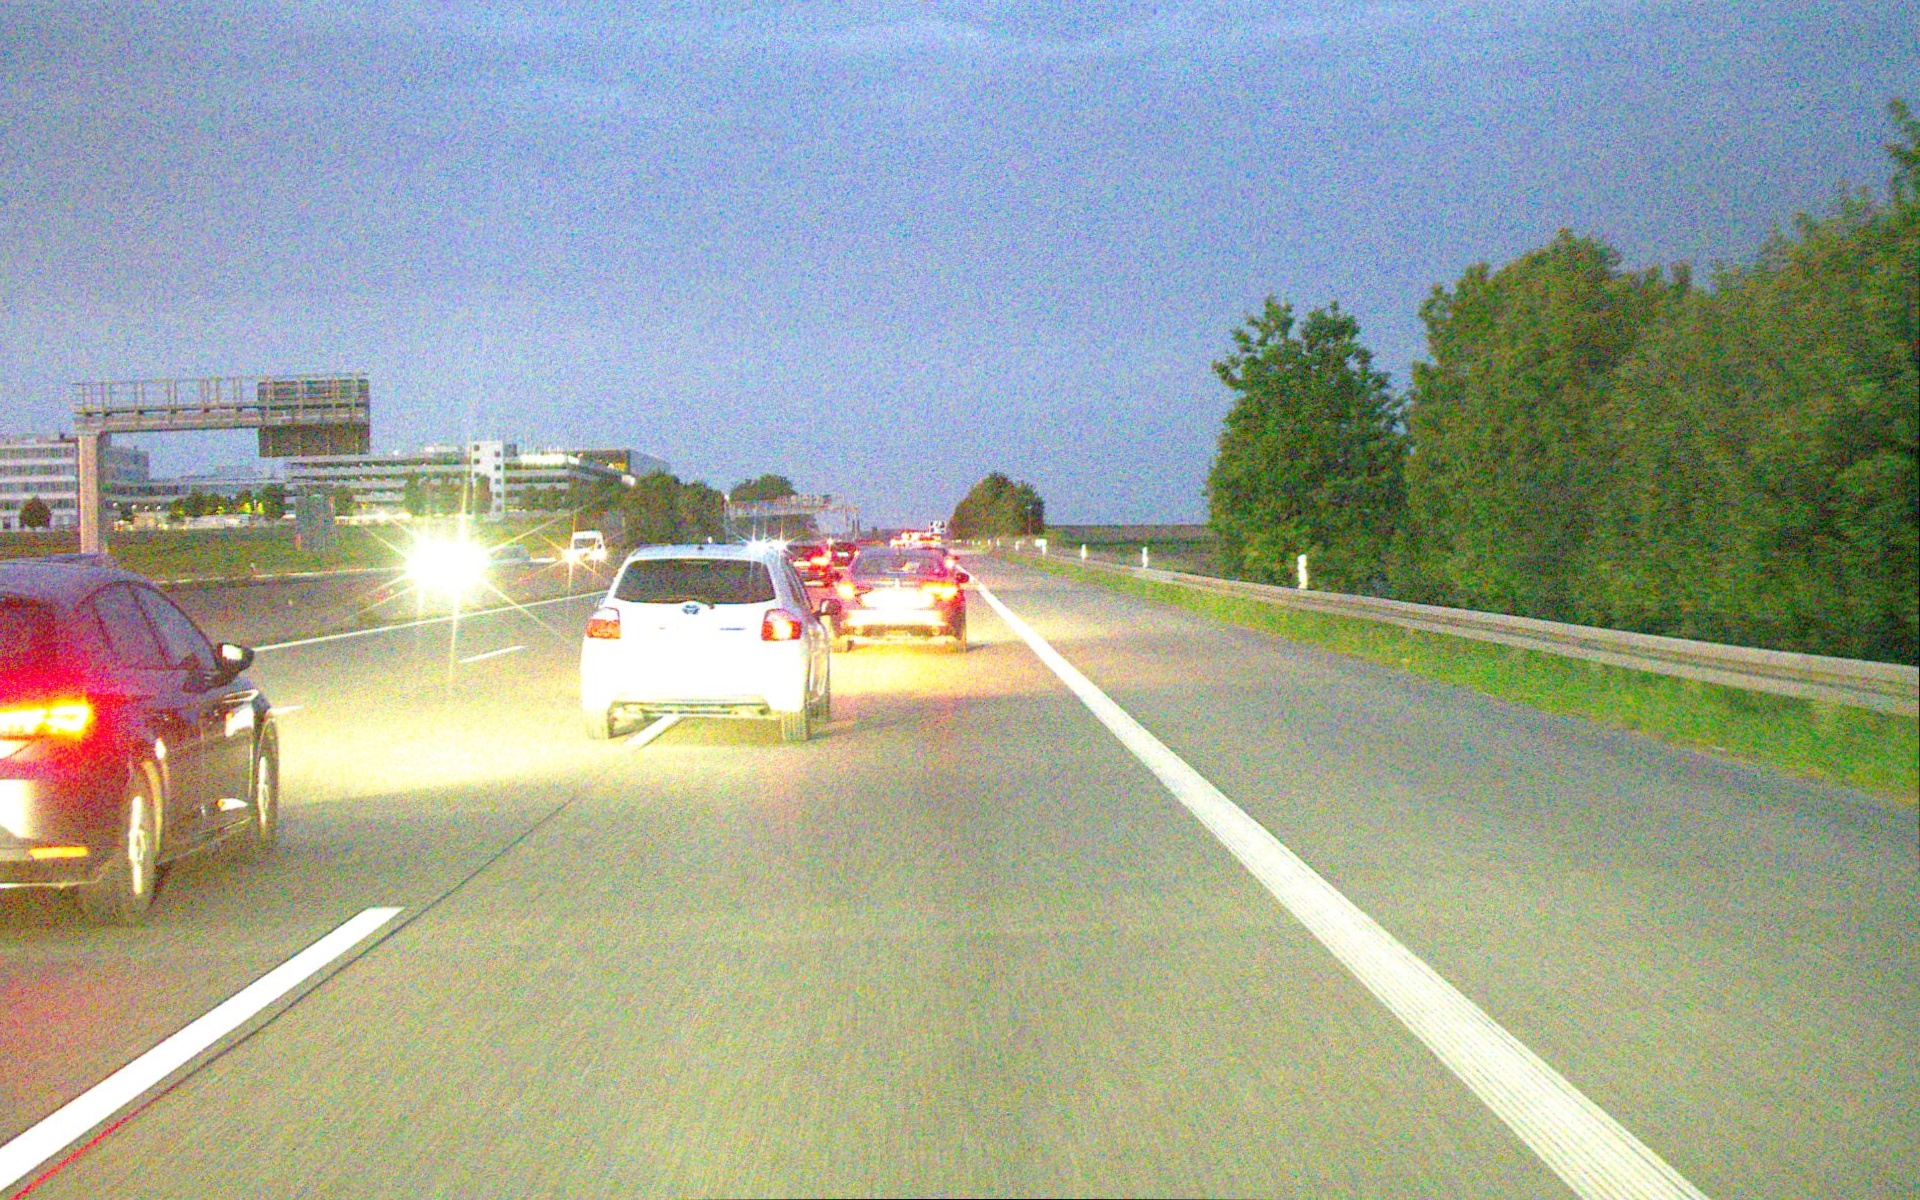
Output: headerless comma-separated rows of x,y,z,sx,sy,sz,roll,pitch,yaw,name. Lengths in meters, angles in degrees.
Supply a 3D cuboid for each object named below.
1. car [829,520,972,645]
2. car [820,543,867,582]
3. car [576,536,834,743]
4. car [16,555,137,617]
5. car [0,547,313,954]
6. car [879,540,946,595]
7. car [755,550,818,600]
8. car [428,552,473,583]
-0.824,-0.248,47.760,1.880,1.637,4.000,1,0,-1,car
-5.759,-1.863,170.041,2.199,1.873,4.000,1,0,-1,car
-1.981,0.280,27.818,1.744,1.519,4.414,1,0,0,car
-20.082,-0.327,78.288,1.744,1.357,4.112,1,0,-1,car
-4.054,0.514,14.770,1.722,1.466,4.726,1,0,-1,car
-1.412,-0.956,100.706,1.880,1.547,4.000,1,0,-1,car
-5.483,-0.798,109.147,1.880,1.547,4.000,1,0,-1,car
-20.974,-1.340,141.724,1.363,1.257,3.507,1,0,-1,car
